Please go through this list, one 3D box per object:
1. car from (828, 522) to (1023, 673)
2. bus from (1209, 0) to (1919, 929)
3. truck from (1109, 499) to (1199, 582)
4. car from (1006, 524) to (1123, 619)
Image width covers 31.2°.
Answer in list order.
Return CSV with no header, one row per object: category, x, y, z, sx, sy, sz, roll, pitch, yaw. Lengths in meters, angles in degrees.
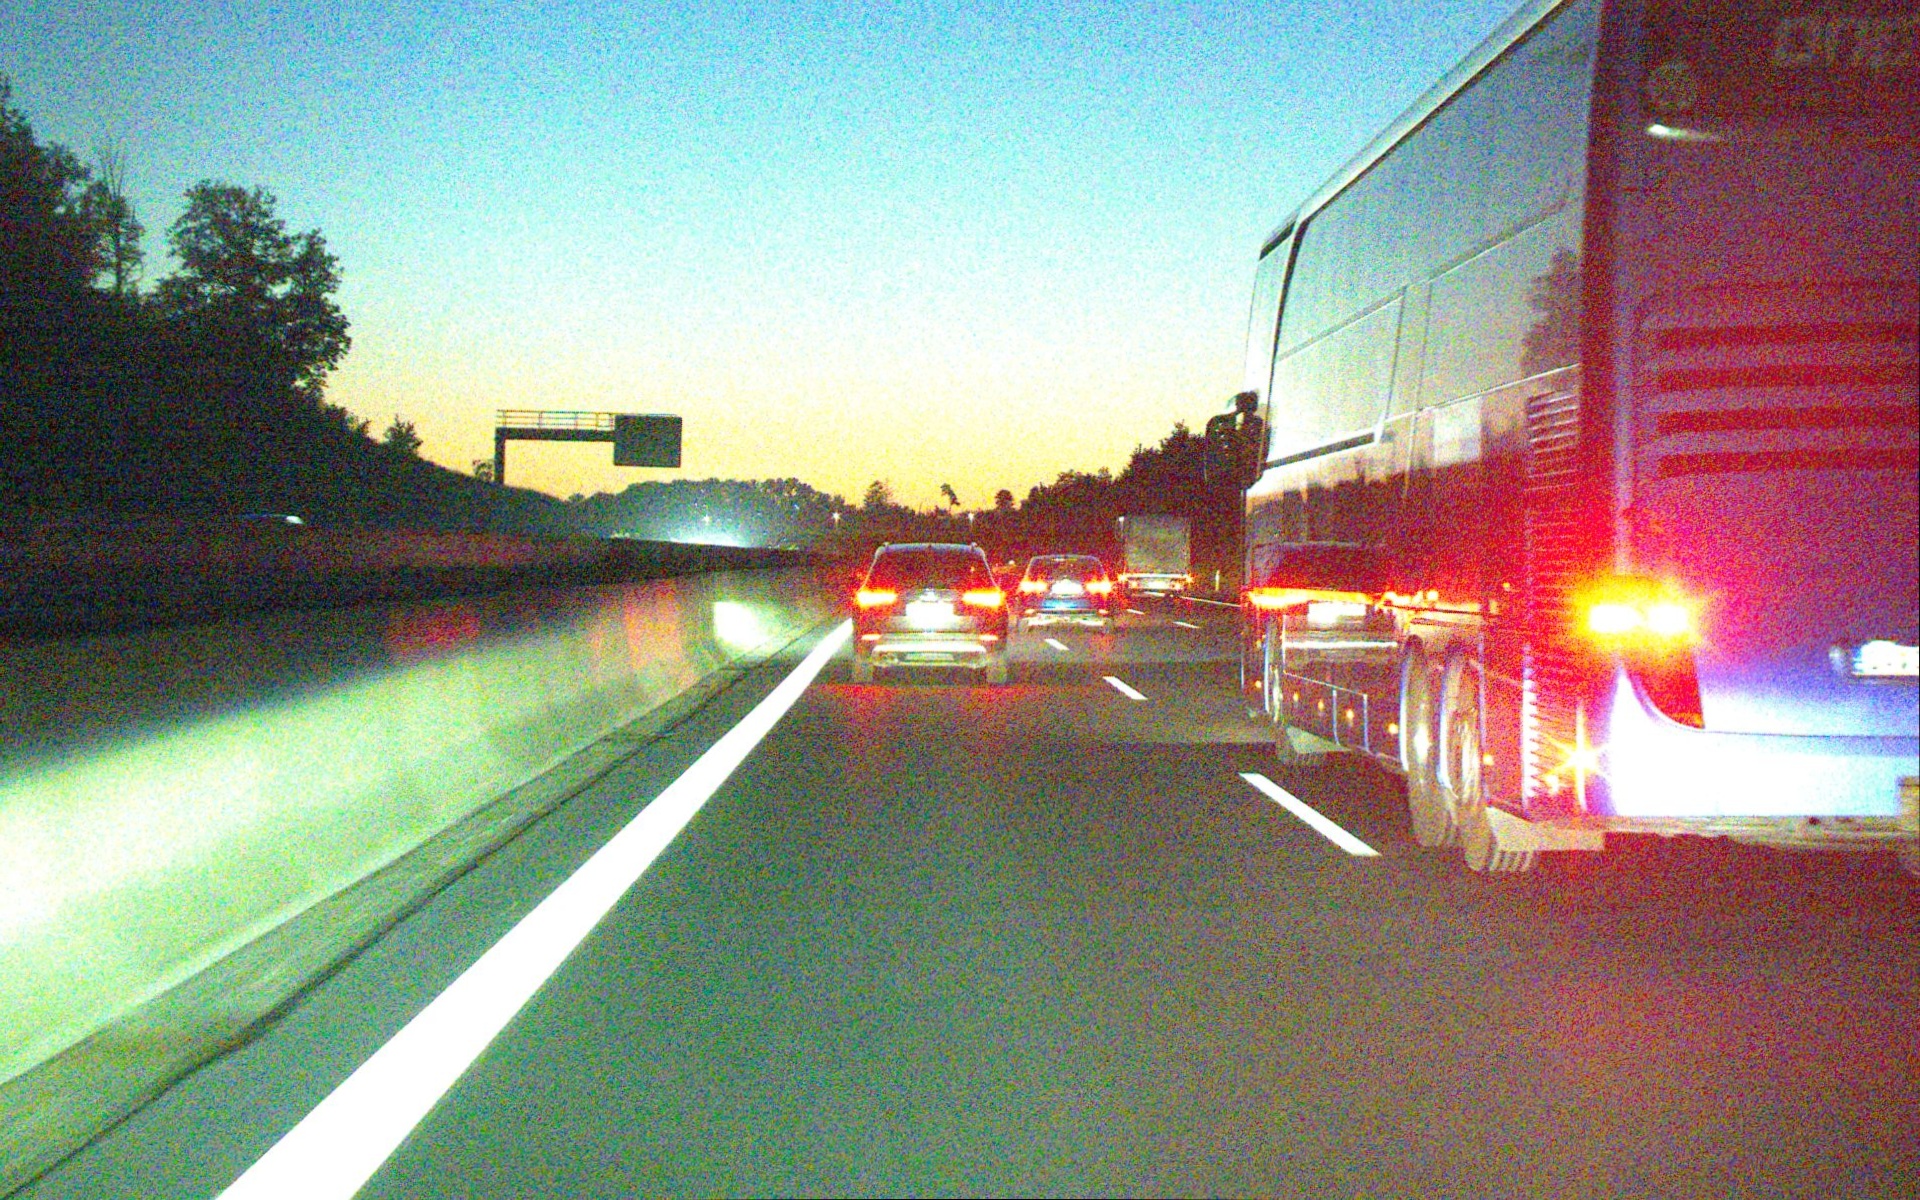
car,-0.454,-0.043,40.005,2.105,1.612,4.205,2,0,-2
bus,3.479,-0.838,20.062,2.652,3.980,14.702,1,0,-1
truck,6.977,-2.136,124.531,2.602,2.865,7.486,2,1,-1
car,1.939,-0.540,65.139,1.911,1.724,4.000,1,0,-2
